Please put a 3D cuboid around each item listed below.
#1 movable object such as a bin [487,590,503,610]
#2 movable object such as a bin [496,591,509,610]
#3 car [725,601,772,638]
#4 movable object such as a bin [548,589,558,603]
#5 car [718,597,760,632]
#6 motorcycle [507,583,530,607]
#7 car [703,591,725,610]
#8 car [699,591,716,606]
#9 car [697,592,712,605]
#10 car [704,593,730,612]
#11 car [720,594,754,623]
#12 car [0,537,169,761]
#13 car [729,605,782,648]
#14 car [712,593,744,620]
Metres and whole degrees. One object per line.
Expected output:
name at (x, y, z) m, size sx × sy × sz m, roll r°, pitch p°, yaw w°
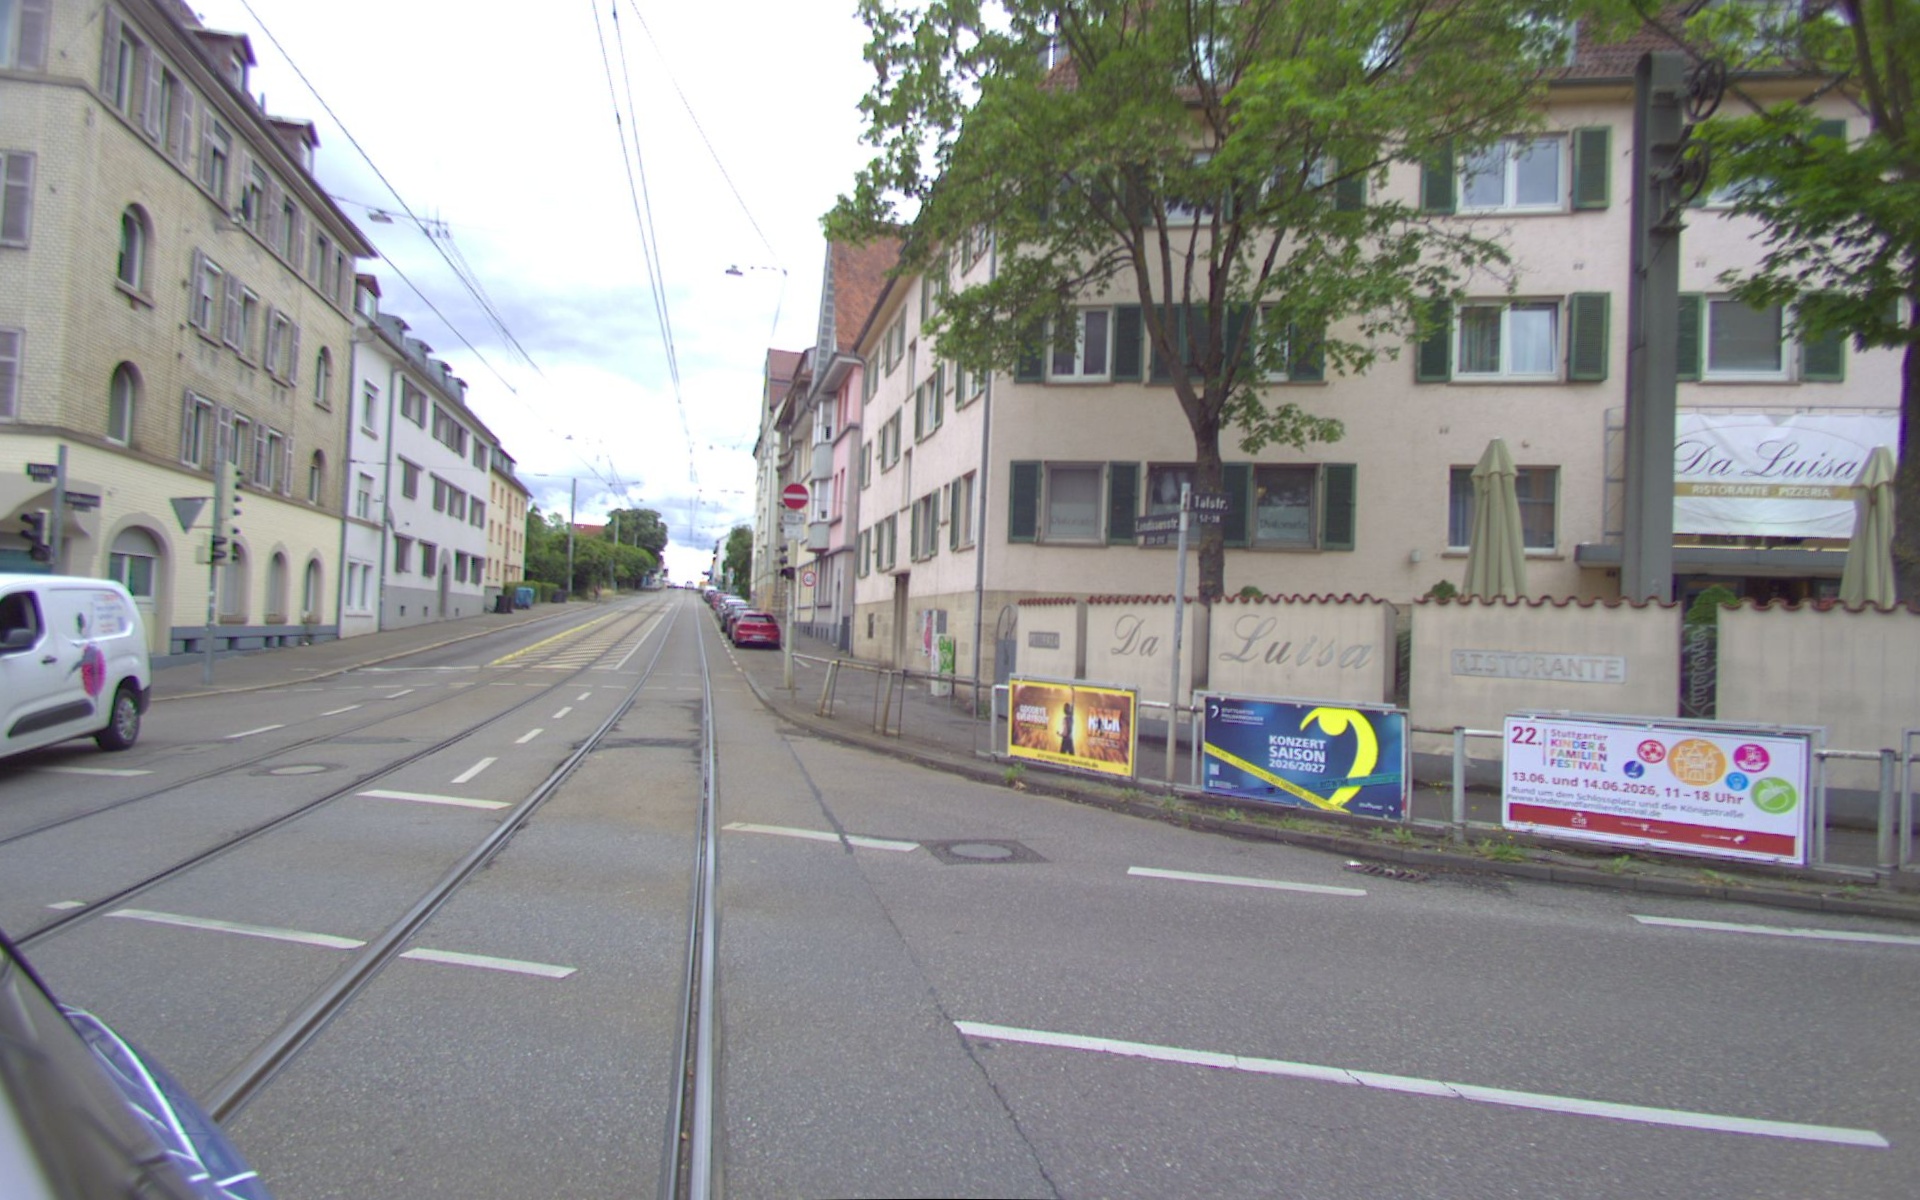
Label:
movable object such as a bin at (-25.810, -0.004, 56.201) m, size 0.627 × 1.017 × 0.604 m, roll 5°, pitch -1°, yaw -14°
movable object such as a bin at (-25.851, 0.027, 57.172) m, size 0.555 × 1.017 × 0.500 m, roll 5°, pitch -1°, yaw -23°
car at (-9.533, 0.850, 45.445) m, size 1.760 × 1.421 × 4.254 m, roll 4°, pitch 0°, yaw -15°
movable object such as a bin at (-32.383, -0.336, 80.582) m, size 0.658 × 1.067 × 0.541 m, roll 1°, pitch 0°, yaw -14°
car at (-11.111, 0.701, 50.658) m, size 1.760 × 1.522 × 4.539 m, roll 4°, pitch 0°, yaw -15°
motorcycle at (-27.955, -0.328, 64.048) m, size 0.721 × 1.400 × 1.940 m, roll 6°, pitch -1°, yaw -8°
car at (-22.583, 0.066, 92.880) m, size 1.715 × 1.537 × 3.964 m, roll 4°, pitch 0°, yaw -16°
car at (-29.310, -0.196, 117.502) m, size 1.715 × 1.537 × 3.964 m, roll 4°, pitch 0°, yaw -16°
car at (-32.779, -0.232, 129.720) m, size 1.715 × 1.537 × 3.964 m, roll 4°, pitch 0°, yaw -16°
car at (-21.223, 0.219, 88.217) m, size 1.714 × 1.469 × 3.965 m, roll 4°, pitch 0°, yaw -19°
car at (-13.209, 0.470, 59.787) m, size 1.715 × 1.522 × 3.812 m, roll 2°, pitch 1°, yaw -15°
car at (-9.081, 0.436, 8.877) m, size 1.857 × 1.852 × 4.690 m, roll 0°, pitch -2°, yaw -18°
car at (-8.173, 1.010, 40.187) m, size 1.760 × 1.449 × 4.273 m, roll 4°, pitch 0°, yaw -15°
car at (-14.829, 0.373, 64.669) m, size 1.715 × 1.579 × 4.156 m, roll 1°, pitch 1°, yaw -16°
